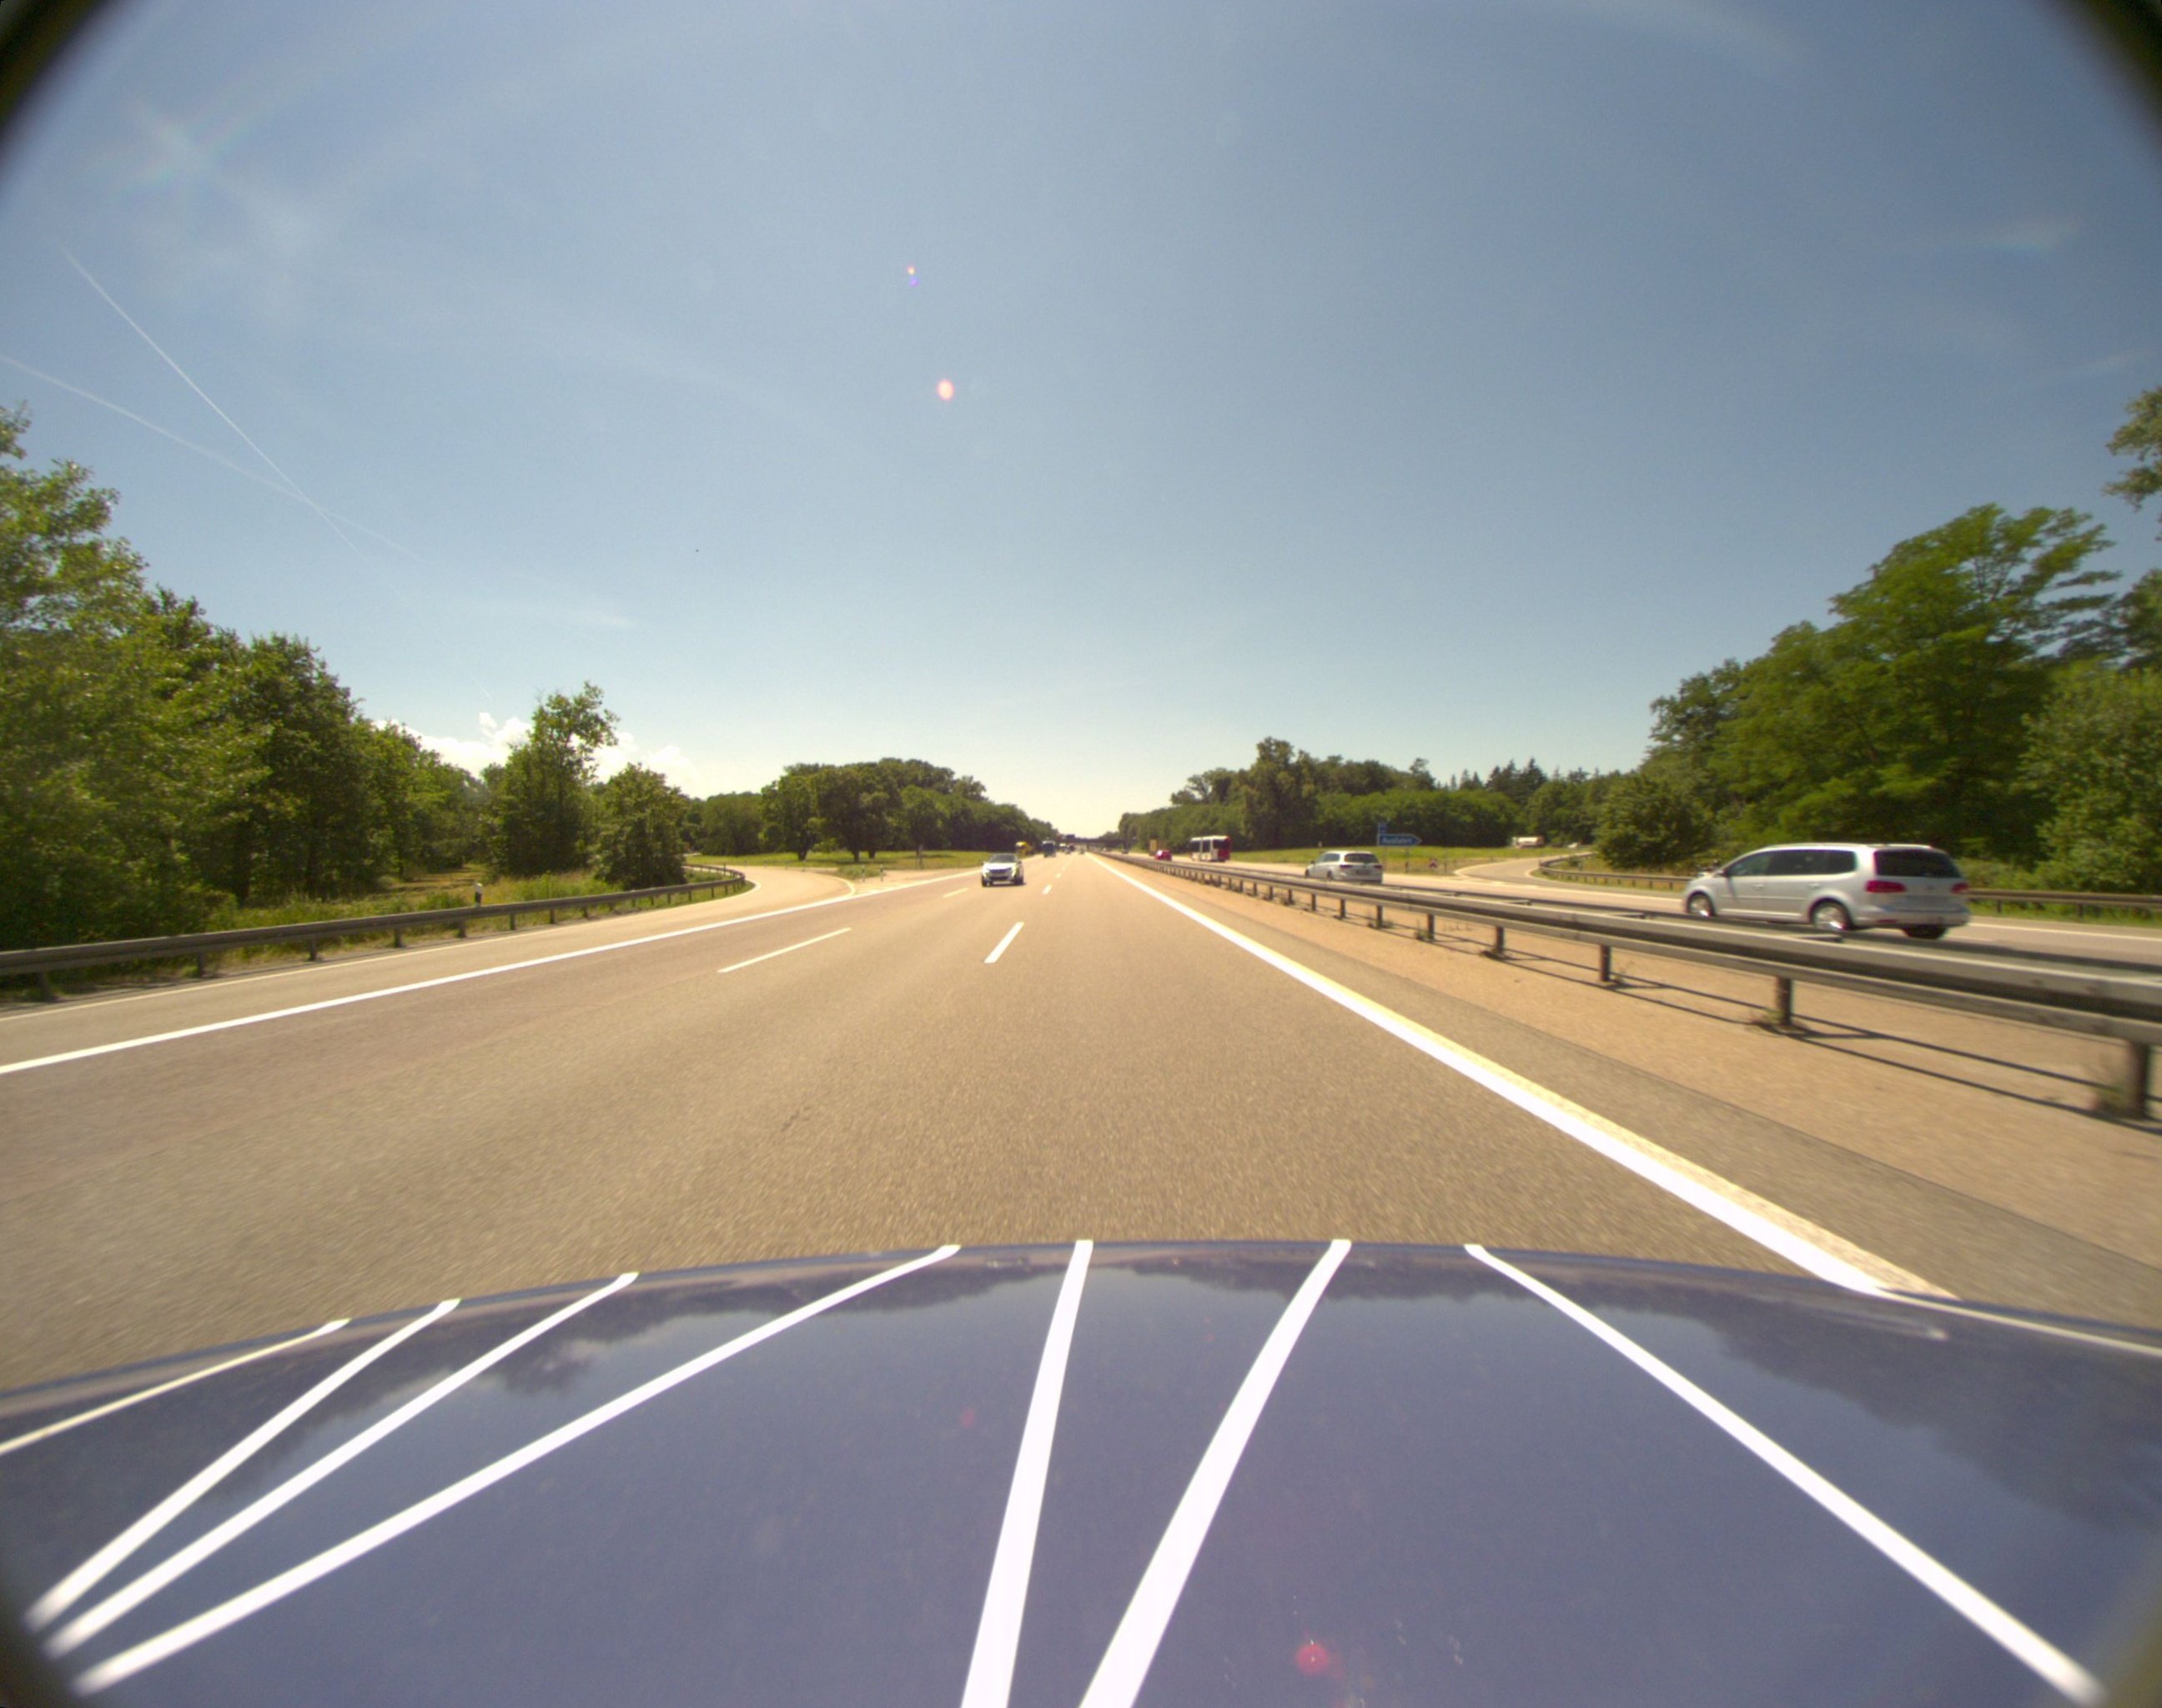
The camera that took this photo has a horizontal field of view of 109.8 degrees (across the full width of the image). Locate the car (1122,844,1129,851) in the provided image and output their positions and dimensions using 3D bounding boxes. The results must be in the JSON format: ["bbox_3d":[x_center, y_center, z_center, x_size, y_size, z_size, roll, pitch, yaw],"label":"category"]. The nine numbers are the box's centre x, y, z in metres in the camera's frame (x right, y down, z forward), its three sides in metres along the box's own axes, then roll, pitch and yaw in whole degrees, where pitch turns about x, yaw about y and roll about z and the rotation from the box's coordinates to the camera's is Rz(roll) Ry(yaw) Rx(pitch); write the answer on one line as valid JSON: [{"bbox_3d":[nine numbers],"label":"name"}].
[{"bbox_3d":[13.244,-1.920,225.900,1.998,2.002,3.999,-1,1,0],"label":"car"}]

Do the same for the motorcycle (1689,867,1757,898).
[{"bbox_3d":[25.023,1.080,29.682,0.781,1.106,2.394,-1,1,4],"label":"motorcycle"}]

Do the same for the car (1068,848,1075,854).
[{"bbox_3d":[-2.930,-0.889,228.941,1.840,2.002,3.999,-1,1,1],"label":"car"}]

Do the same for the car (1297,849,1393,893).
[{"bbox_3d":[10.160,0.599,29.684,1.998,1.543,5.223,-1,1,1],"label":"car"}]

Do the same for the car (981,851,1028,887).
[{"bbox_3d":[-3.712,0.692,37.543,1.845,1.565,3.999,-2,1,0],"label":"car"}]

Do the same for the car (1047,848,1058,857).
[{"bbox_3d":[-6.342,-0.307,171.244,2.300,2.002,4.794,-1,1,-1],"label":"car"}]

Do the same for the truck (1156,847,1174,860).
[{"bbox_3d":[10.076,-0.055,91.307,1.835,1.554,4.309,-1,1,1],"label":"truck"}]

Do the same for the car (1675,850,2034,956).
[{"bbox_3d":[13.719,0.744,14.009,1.998,1.617,4.543,1,1,1],"label":"car"}]

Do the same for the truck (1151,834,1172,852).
[{"bbox_3d":[18.486,-2.472,175.119,3.091,3.853,15.619,-2,1,0],"label":"truck"}]

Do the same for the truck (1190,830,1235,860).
[{"bbox_3d":[18.140,-1.290,106.203,3.091,3.853,17.543,-1,1,-1],"label":"truck"}]

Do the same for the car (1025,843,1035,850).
[{"bbox_3d":[-14.334,-2.193,213.424,2.562,2.002,6.762,-1,1,-1],"label":"car"}]
